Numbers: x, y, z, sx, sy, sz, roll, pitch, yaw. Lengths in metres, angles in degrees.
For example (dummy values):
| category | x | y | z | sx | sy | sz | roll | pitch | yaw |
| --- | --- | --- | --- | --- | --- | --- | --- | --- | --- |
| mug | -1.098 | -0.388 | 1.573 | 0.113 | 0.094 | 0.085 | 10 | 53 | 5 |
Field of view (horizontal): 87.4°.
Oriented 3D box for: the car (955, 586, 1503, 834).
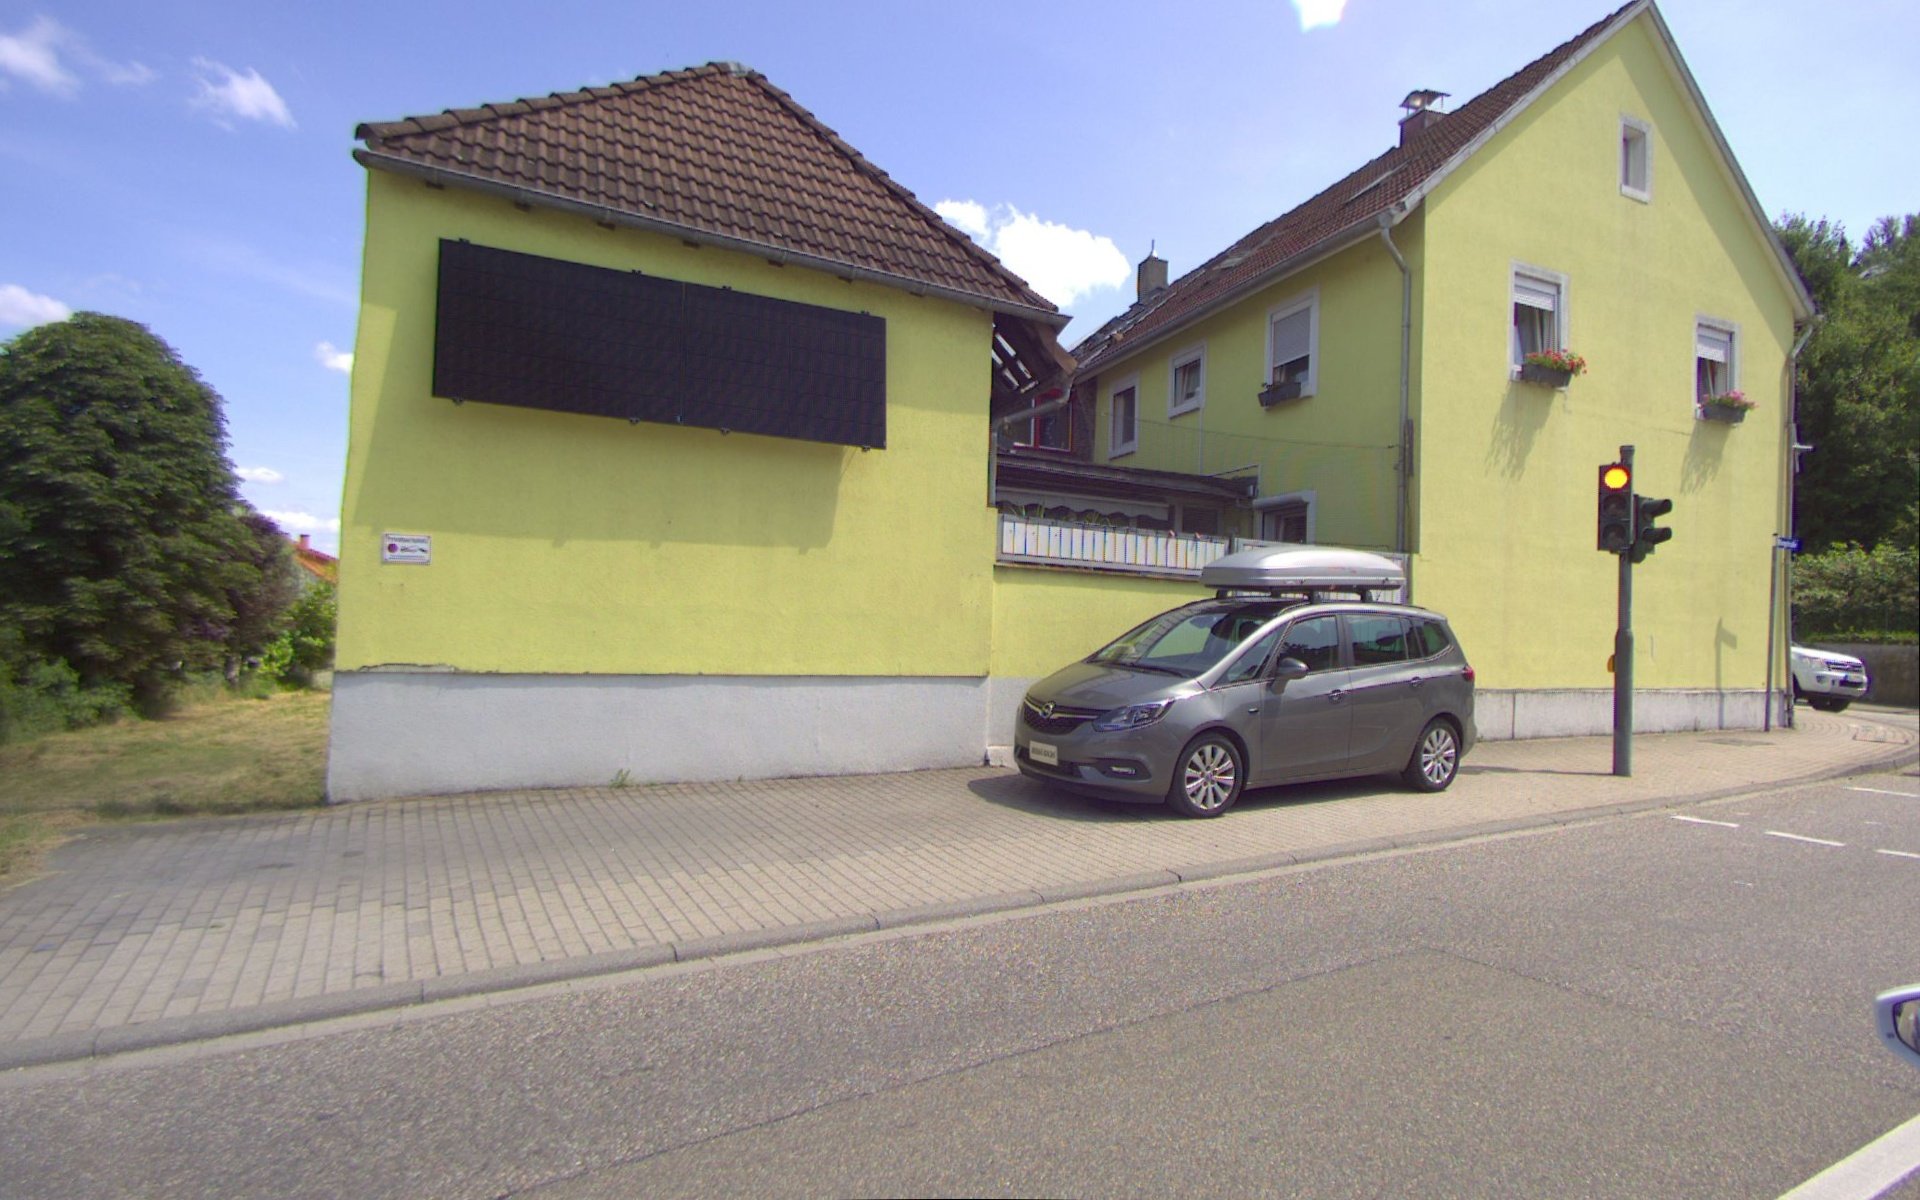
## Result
| category | x | y | z | sx | sy | sz | roll | pitch | yaw |
| --- | --- | --- | --- | --- | --- | --- | --- | --- | --- |
| car | 2.436 | 0.791 | 8.814 | 4.575 | 1.657 | 1.984 | 2 | 1 | -30 |

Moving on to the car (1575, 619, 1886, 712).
| category | x | y | z | sx | sy | sz | roll | pitch | yaw |
| --- | --- | --- | --- | --- | --- | --- | --- | --- | --- |
| car | 16.845 | 1.375 | 22.400 | 1.949 | 1.799 | 5.291 | 1 | -2 | -20 |
